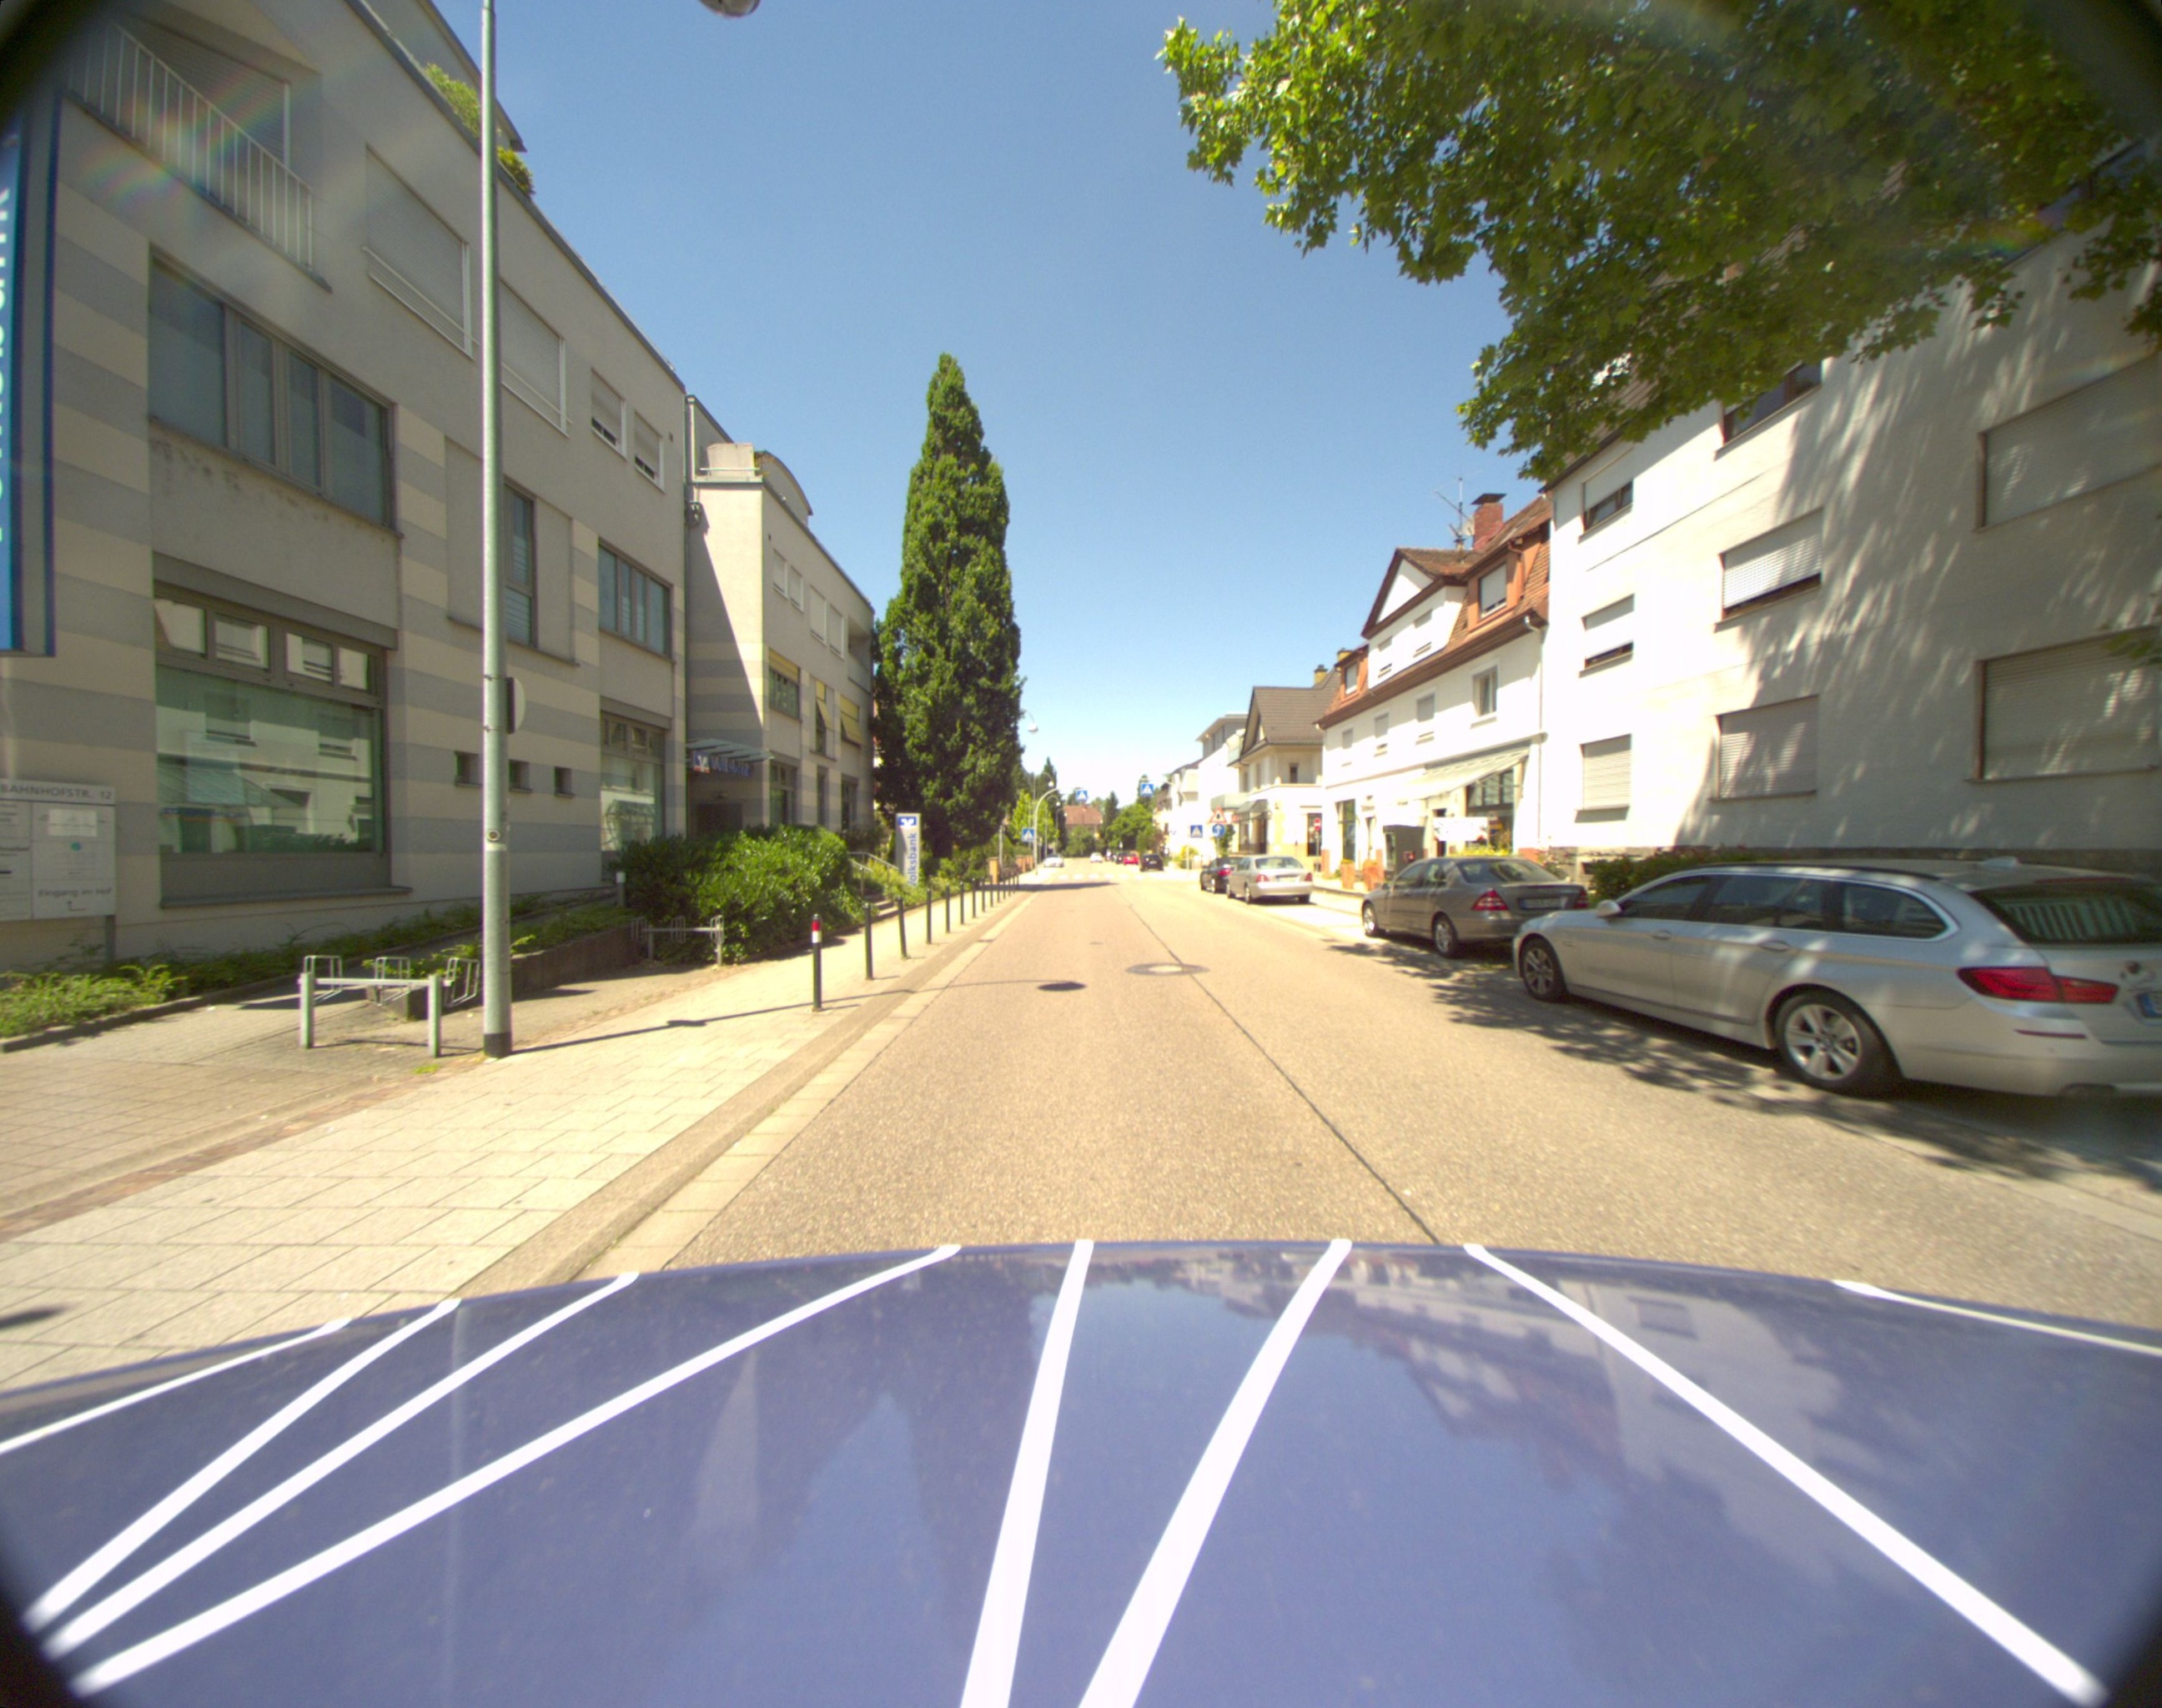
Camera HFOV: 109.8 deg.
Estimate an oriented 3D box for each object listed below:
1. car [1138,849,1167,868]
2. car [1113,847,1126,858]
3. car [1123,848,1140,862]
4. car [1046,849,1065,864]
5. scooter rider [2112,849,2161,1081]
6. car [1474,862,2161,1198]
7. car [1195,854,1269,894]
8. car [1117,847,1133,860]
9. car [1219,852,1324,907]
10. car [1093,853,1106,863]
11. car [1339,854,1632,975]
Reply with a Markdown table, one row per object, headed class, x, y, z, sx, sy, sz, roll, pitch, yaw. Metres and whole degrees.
| class | x | y | z | sx | sy | sz | roll | pitch | yaw |
| --- | --- | --- | --- | --- | --- | --- | --- | --- | --- |
| car | 5.910 | 0.341 | 63.554 | 1.921 | 1.444 | 5.148 | -3 | 1 | 1 |
| car | 6.165 | -0.281 | 122.276 | 1.925 | 1.681 | 4.287 | -3 | 1 | 2 |
| car | 6.079 | 0.112 | 91.079 | 1.737 | 1.444 | 4.259 | -3 | 1 | 1 |
| car | -2.779 | 0.255 | 83.625 | 1.920 | 1.460 | 4.879 | 1 | 1 | 0 |
| scooter rider | 7.611 | 0.752 | 4.942 | 0.590 | 1.566 | 0.877 | -2 | 1 | 1 |
| car | 5.537 | 0.854 | 6.139 | 1.986 | 1.444 | 5.149 | -1 | 0 | -1 |
| car | 5.814 | 0.706 | 29.825 | 1.947 | 1.365 | 5.097 | -1 | 0 | 1 |
| car | 5.869 | -0.061 | 102.373 | 1.925 | 1.577 | 4.435 | -3 | 1 | 1 |
| car | 5.763 | 0.702 | 23.755 | 1.986 | 1.444 | 5.357 | -1 | 0 | 1 |
| car | 2.901 | 0.560 | 117.532 | 1.812 | 1.474 | 3.868 | 1 | 1 | -2 |
| car | 5.947 | 0.763 | 12.032 | 1.986 | 1.444 | 4.867 | -1 | 0 | -1 |
